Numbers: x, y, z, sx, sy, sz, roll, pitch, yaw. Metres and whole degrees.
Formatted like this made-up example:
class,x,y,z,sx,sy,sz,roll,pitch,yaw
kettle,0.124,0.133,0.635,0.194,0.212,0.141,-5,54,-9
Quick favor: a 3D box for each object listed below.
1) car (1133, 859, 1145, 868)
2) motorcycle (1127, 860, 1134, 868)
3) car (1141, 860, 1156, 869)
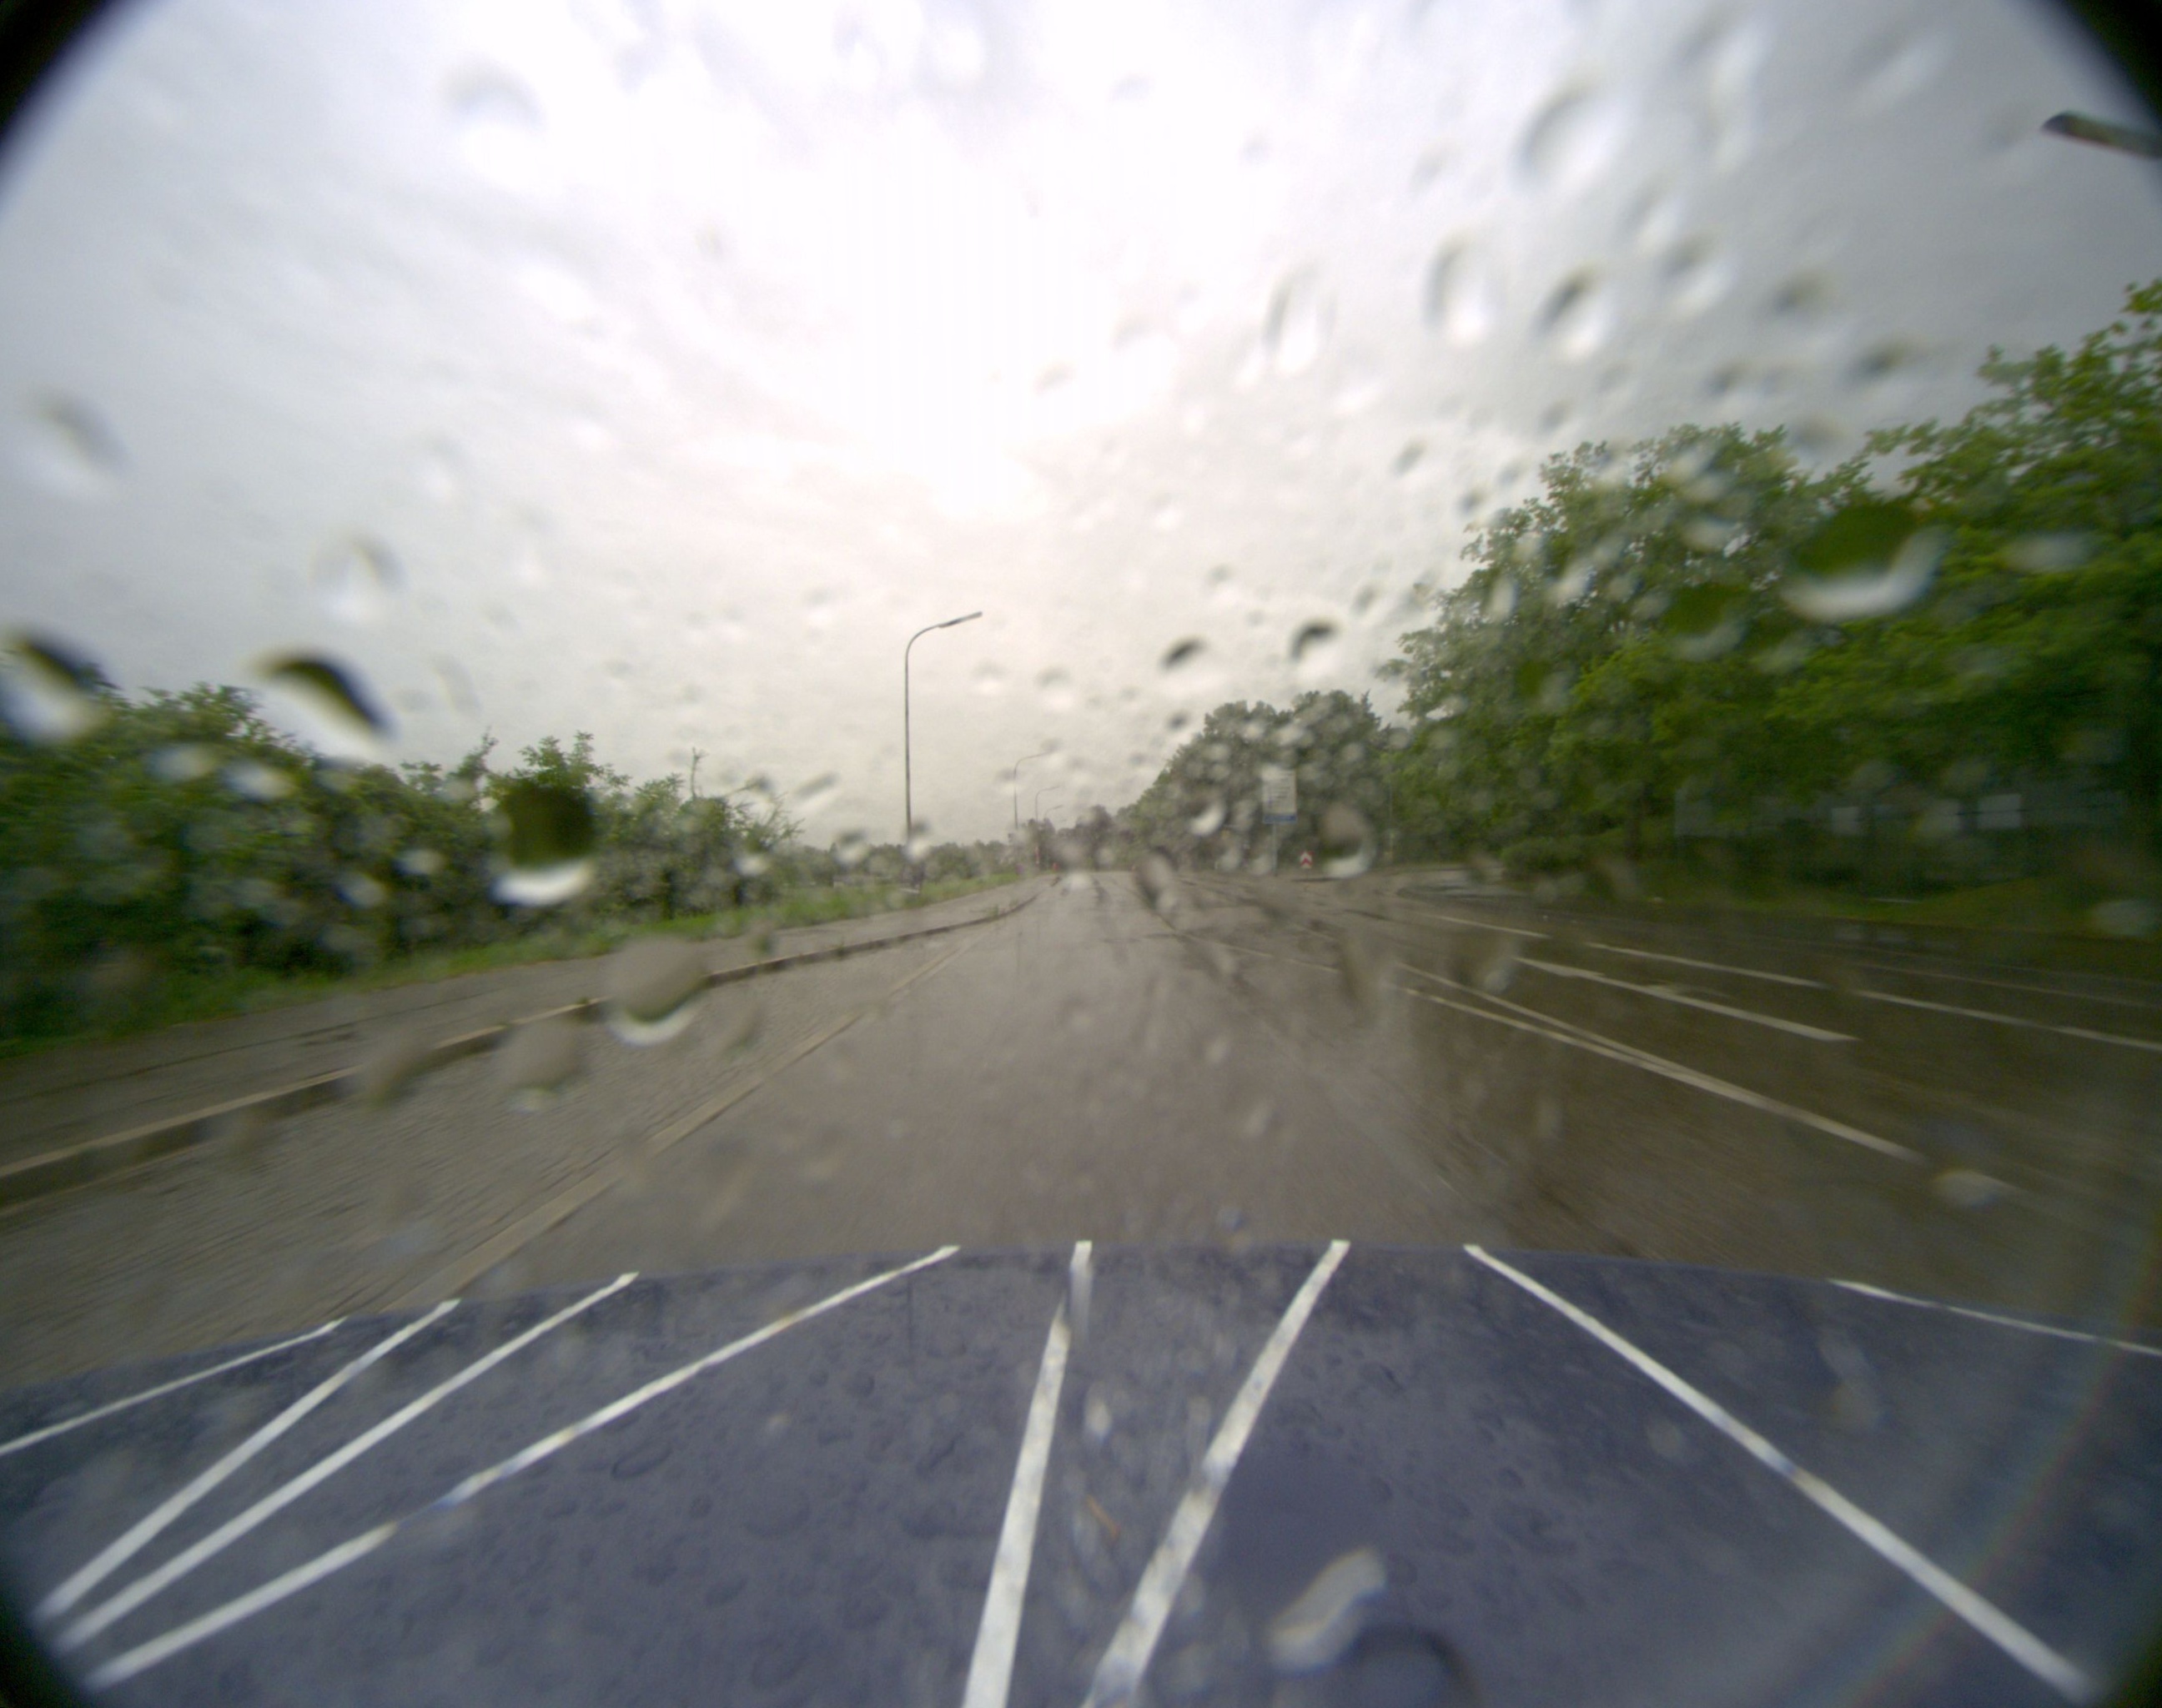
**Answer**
class,x,y,z,sx,sy,sz,roll,pitch,yaw
car,10.059,1.692,132.135,1.438,1.528,2.817,-1,0,-10
motorcycle,9.109,1.829,139.096,0.840,1.333,2.498,-1,0,-7
car,10.908,1.756,123.074,1.691,1.411,4.740,-1,-1,-3
